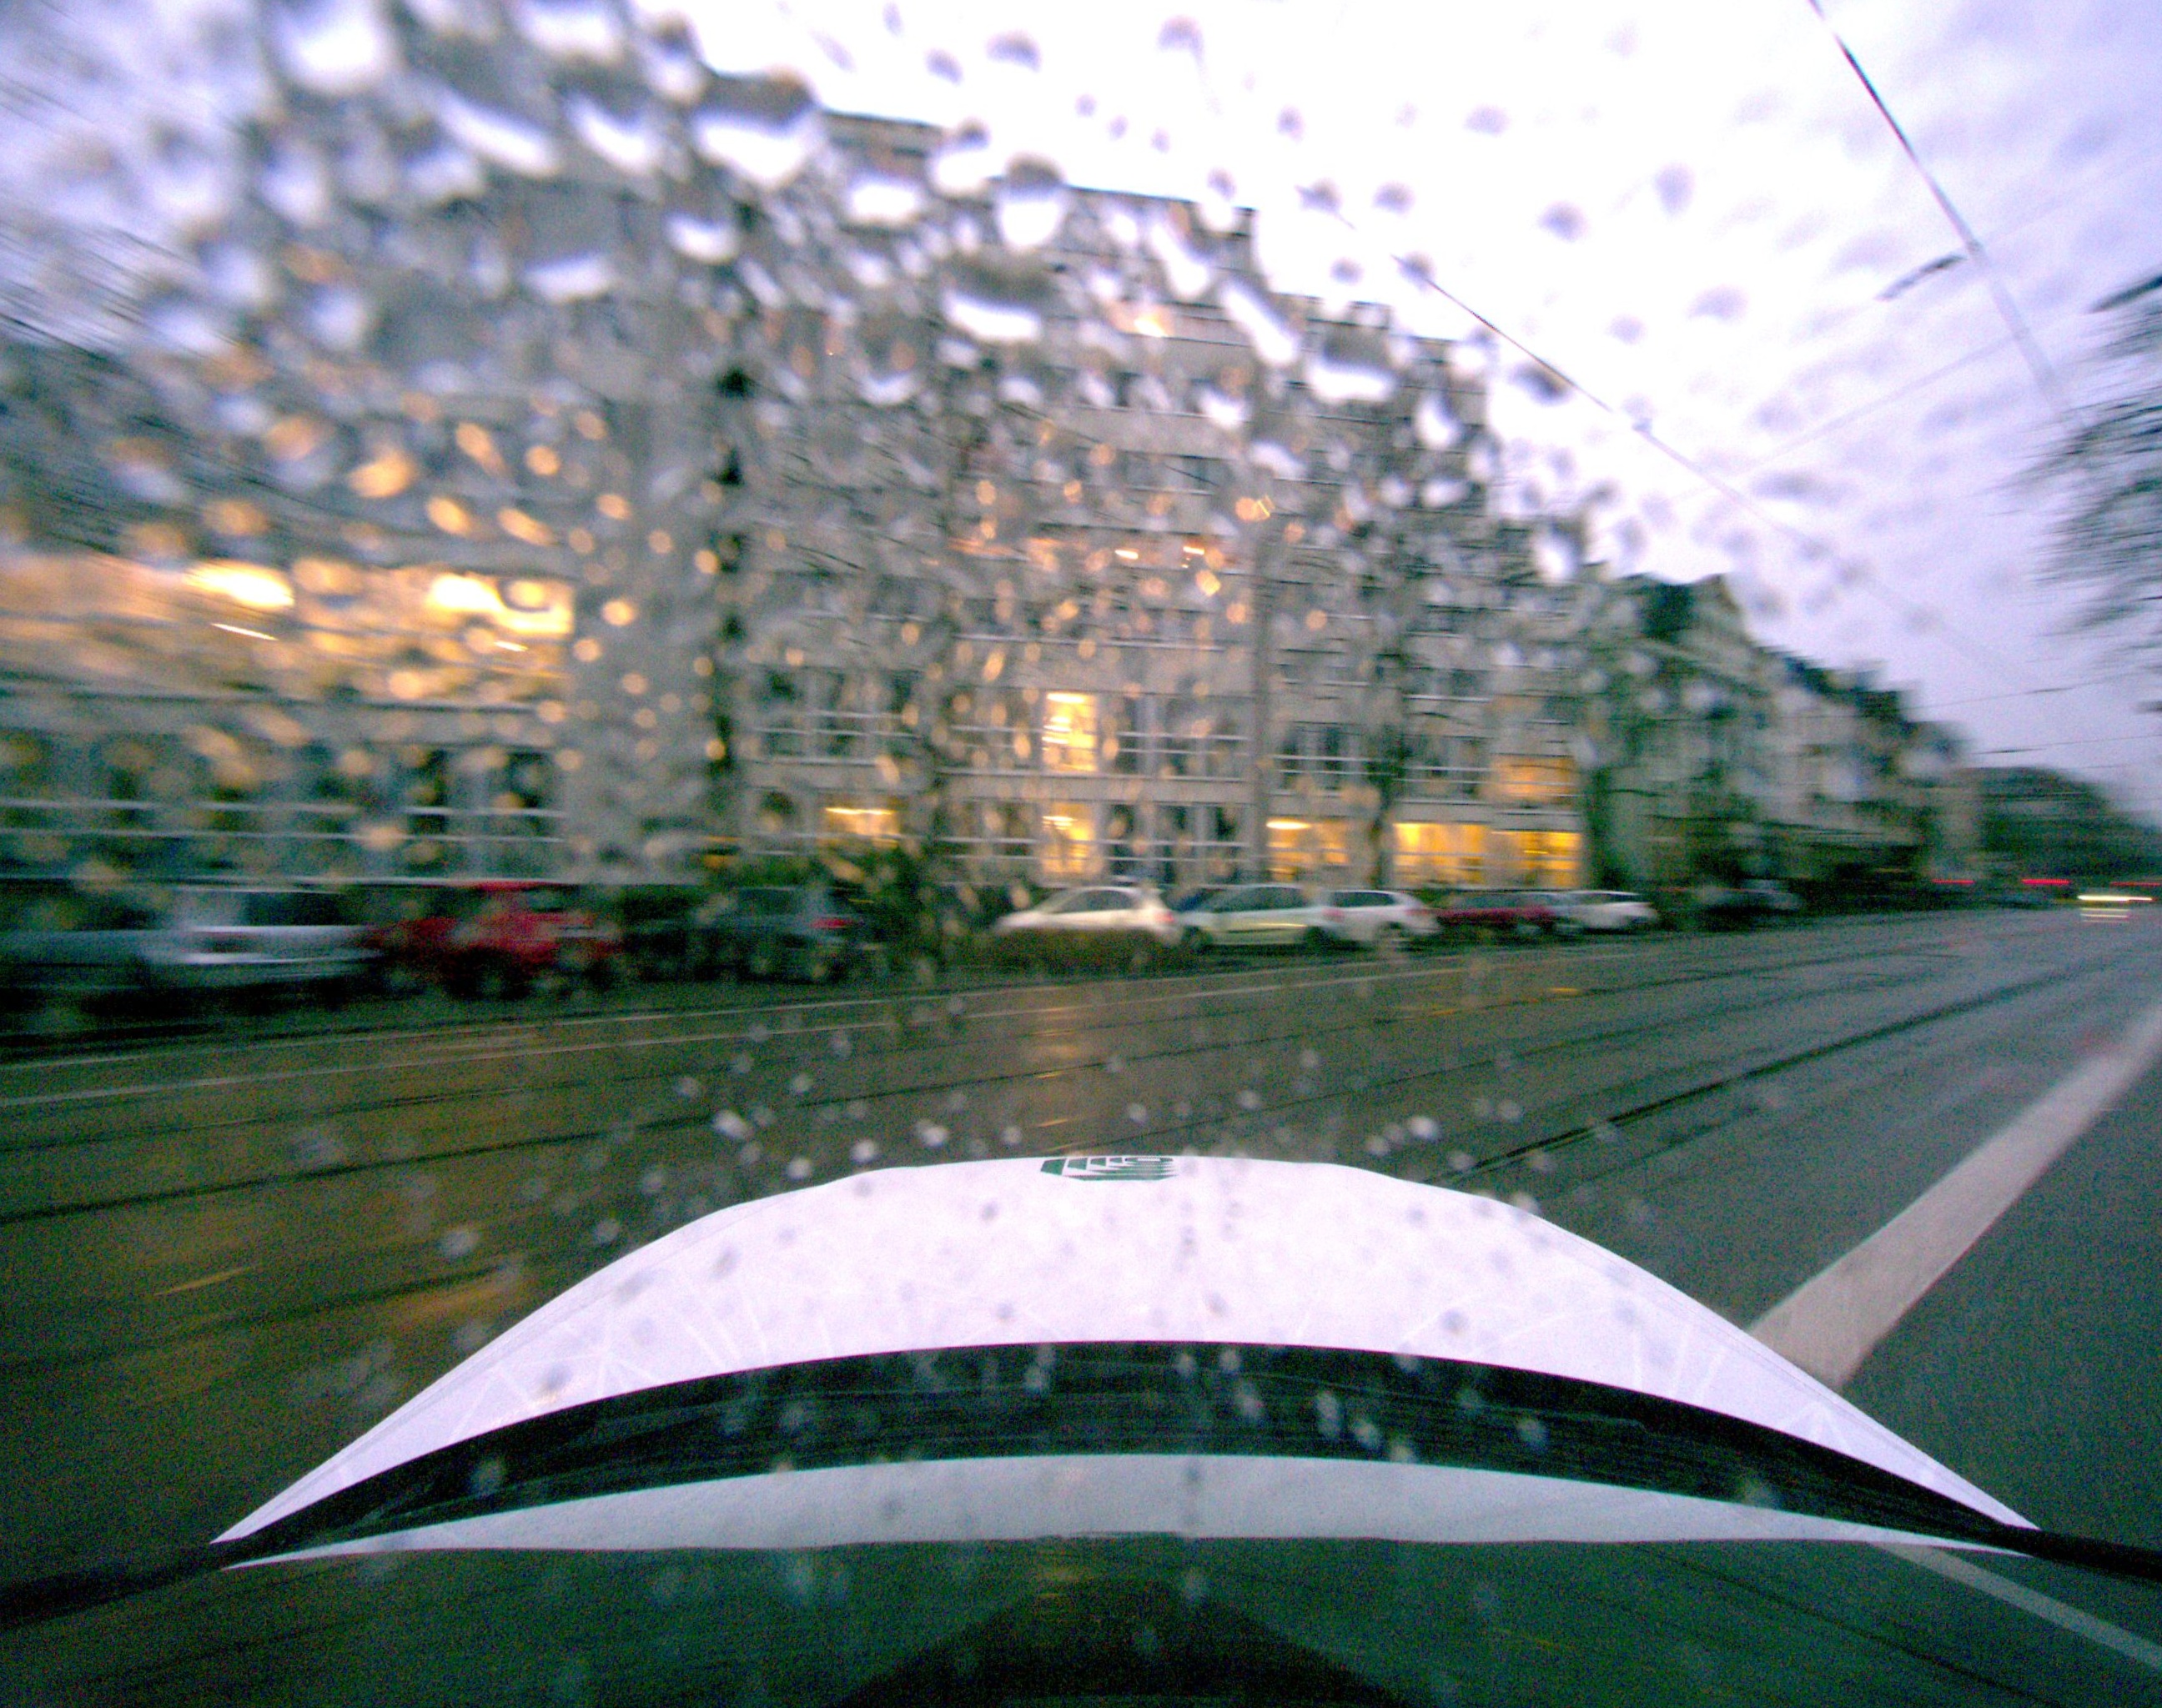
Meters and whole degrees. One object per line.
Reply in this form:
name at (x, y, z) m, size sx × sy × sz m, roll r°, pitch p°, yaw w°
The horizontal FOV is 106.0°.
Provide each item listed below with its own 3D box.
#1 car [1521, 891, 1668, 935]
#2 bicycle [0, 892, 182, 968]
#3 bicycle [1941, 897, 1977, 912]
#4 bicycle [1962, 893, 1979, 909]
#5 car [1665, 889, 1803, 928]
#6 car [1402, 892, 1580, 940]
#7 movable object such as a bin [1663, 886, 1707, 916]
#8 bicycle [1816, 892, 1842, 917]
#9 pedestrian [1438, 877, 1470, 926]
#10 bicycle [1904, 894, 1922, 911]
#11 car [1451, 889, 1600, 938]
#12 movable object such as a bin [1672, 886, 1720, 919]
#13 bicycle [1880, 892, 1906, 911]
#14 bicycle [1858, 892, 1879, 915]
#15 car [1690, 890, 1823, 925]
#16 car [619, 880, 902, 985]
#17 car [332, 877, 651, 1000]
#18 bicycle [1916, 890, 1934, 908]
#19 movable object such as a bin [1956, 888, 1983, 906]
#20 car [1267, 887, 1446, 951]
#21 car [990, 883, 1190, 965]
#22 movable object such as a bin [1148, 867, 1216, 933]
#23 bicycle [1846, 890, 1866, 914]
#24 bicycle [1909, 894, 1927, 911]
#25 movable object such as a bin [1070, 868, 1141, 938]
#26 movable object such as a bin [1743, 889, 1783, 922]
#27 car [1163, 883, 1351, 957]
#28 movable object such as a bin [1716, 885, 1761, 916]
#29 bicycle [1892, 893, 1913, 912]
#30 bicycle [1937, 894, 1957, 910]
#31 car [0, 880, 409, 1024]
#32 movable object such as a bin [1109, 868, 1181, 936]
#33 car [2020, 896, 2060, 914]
car at (17.250, 1.969, 27.550) m, size 3.815 × 1.423 × 1.742 m, roll -1°, pitch -2°, yaw 11°
bicycle at (-16.390, 1.217, 13.580) m, size 0.640 × 1.121 × 2.197 m, roll 0°, pitch -2°, yaw -10°
bicycle at (66.506, 3.801, 61.683) m, size 0.619 × 1.081 × 1.789 m, roll 1°, pitch -3°, yaw -39°
bicycle at (62.502, 3.277, 57.231) m, size 1.819 × 1.081 × 0.609 m, roll 1°, pitch -3°, yaw -38°
car at (26.448, 2.191, 33.121) m, size 3.960 × 1.471 × 1.837 m, roll 0°, pitch -2°, yaw 12°
car at (11.897, 1.797, 23.903) m, size 4.308 × 1.352 × 1.754 m, roll -1°, pitch -3°, yaw 8°
movable object such as a bin at (30.156, 2.319, 40.688) m, size 1.328 × 1.451 × 1.256 m, roll 1°, pitch -3°, yaw -26°
bicycle at (37.069, 2.483, 40.360) m, size 1.604 × 1.213 × 0.686 m, roll 1°, pitch -3°, yaw -39°
pedestrian at (13.223, 1.674, 28.876) m, size 0.977 × 1.677 × 0.592 m, roll 1°, pitch -3°, yaw -34°
bicycle at (50.323, 2.936, 49.265) m, size 1.605 × 1.031 × 0.686 m, roll 4°, pitch -5°, yaw -42°
car at (13.993, 1.854, 25.891) m, size 3.952 × 1.464 × 1.745 m, roll -1°, pitch -4°, yaw 22°
movable object such as a bin at (28.448, 2.224, 37.688) m, size 1.328 × 1.451 × 1.256 m, roll 1°, pitch -3°, yaw -26°
bicycle at (46.706, 2.750, 46.849) m, size 1.600 × 1.031 × 0.687 m, roll 6°, pitch -6°, yaw -32°
bicycle at (42.808, 2.660, 44.247) m, size 1.605 × 1.213 × 0.686 m, roll 2°, pitch -3°, yaw -43°
car at (28.739, 2.257, 34.783) m, size 3.958 × 1.428 × 1.855 m, roll -1°, pitch -2°, yaw 14°
car at (-4.965, 1.173, 12.820) m, size 3.814 × 1.493 × 1.702 m, roll -1°, pitch -2°, yaw 13°
car at (-8.028, 1.086, 11.207) m, size 3.414 × 1.493 × 1.736 m, roll -1°, pitch -2°, yaw 15°
bicycle at (53.476, 2.846, 51.600) m, size 1.938 × 1.100 × 0.482 m, roll 2°, pitch -4°, yaw -35°
movable object such as a bin at (78.402, 3.801, 71.867) m, size 1.370 × 1.531 × 1.399 m, roll 1°, pitch -3°, yaw -33°
car at (6.715, 1.551, 19.859) m, size 3.951 × 1.444 × 1.746 m, roll -1°, pitch -4°, yaw 24°
car at (0.236, 1.396, 16.772) m, size 3.838 × 1.552 × 1.698 m, roll -1°, pitch -2°, yaw 12°
movable object such as a bin at (3.002, 1.345, 24.322) m, size 1.322 × 1.860 × 1.559 m, roll 0°, pitch -2°, yaw -32°
bicycle at (40.344, 2.492, 42.406) m, size 1.605 × 1.213 × 0.623 m, roll 2°, pitch -3°, yaw -43°
bicycle at (51.926, 2.991, 50.510) m, size 1.605 × 1.031 × 0.686 m, roll 3°, pitch -4°, yaw -43°
movable object such as a bin at (0.680, 1.345, 22.826) m, size 1.322 × 1.860 × 1.559 m, roll 0°, pitch -2°, yaw -32°
movable object such as a bin at (31.086, 2.335, 37.152) m, size 1.251 × 1.451 × 1.118 m, roll -2°, pitch -3°, yaw 35°
car at (3.974, 1.445, 18.430) m, size 3.957 × 1.564 × 1.743 m, roll -1°, pitch -2°, yaw 15°
movable object such as a bin at (32.199, 2.273, 39.881) m, size 1.328 × 1.451 × 1.256 m, roll 1°, pitch -3°, yaw -26°
bicycle at (48.417, 2.864, 48.004) m, size 1.603 × 1.031 × 0.686 m, roll 7°, pitch -6°, yaw -38°
bicycle at (57.769, 3.183, 54.295) m, size 1.813 × 1.017 × 0.621 m, roll 1°, pitch -3°, yaw -35°
car at (-10.378, 1.042, 9.452) m, size 3.961 × 1.446 × 1.798 m, roll -1°, pitch -2°, yaw 11°
movable object such as a bin at (1.844, 1.364, 23.583) m, size 1.398 × 1.860 × 1.559 m, roll 0°, pitch -2°, yaw -32°
car at (84.929, 4.503, 72.112) m, size 4.015 × 1.447 × 1.820 m, roll 1°, pitch -3°, yaw -33°
